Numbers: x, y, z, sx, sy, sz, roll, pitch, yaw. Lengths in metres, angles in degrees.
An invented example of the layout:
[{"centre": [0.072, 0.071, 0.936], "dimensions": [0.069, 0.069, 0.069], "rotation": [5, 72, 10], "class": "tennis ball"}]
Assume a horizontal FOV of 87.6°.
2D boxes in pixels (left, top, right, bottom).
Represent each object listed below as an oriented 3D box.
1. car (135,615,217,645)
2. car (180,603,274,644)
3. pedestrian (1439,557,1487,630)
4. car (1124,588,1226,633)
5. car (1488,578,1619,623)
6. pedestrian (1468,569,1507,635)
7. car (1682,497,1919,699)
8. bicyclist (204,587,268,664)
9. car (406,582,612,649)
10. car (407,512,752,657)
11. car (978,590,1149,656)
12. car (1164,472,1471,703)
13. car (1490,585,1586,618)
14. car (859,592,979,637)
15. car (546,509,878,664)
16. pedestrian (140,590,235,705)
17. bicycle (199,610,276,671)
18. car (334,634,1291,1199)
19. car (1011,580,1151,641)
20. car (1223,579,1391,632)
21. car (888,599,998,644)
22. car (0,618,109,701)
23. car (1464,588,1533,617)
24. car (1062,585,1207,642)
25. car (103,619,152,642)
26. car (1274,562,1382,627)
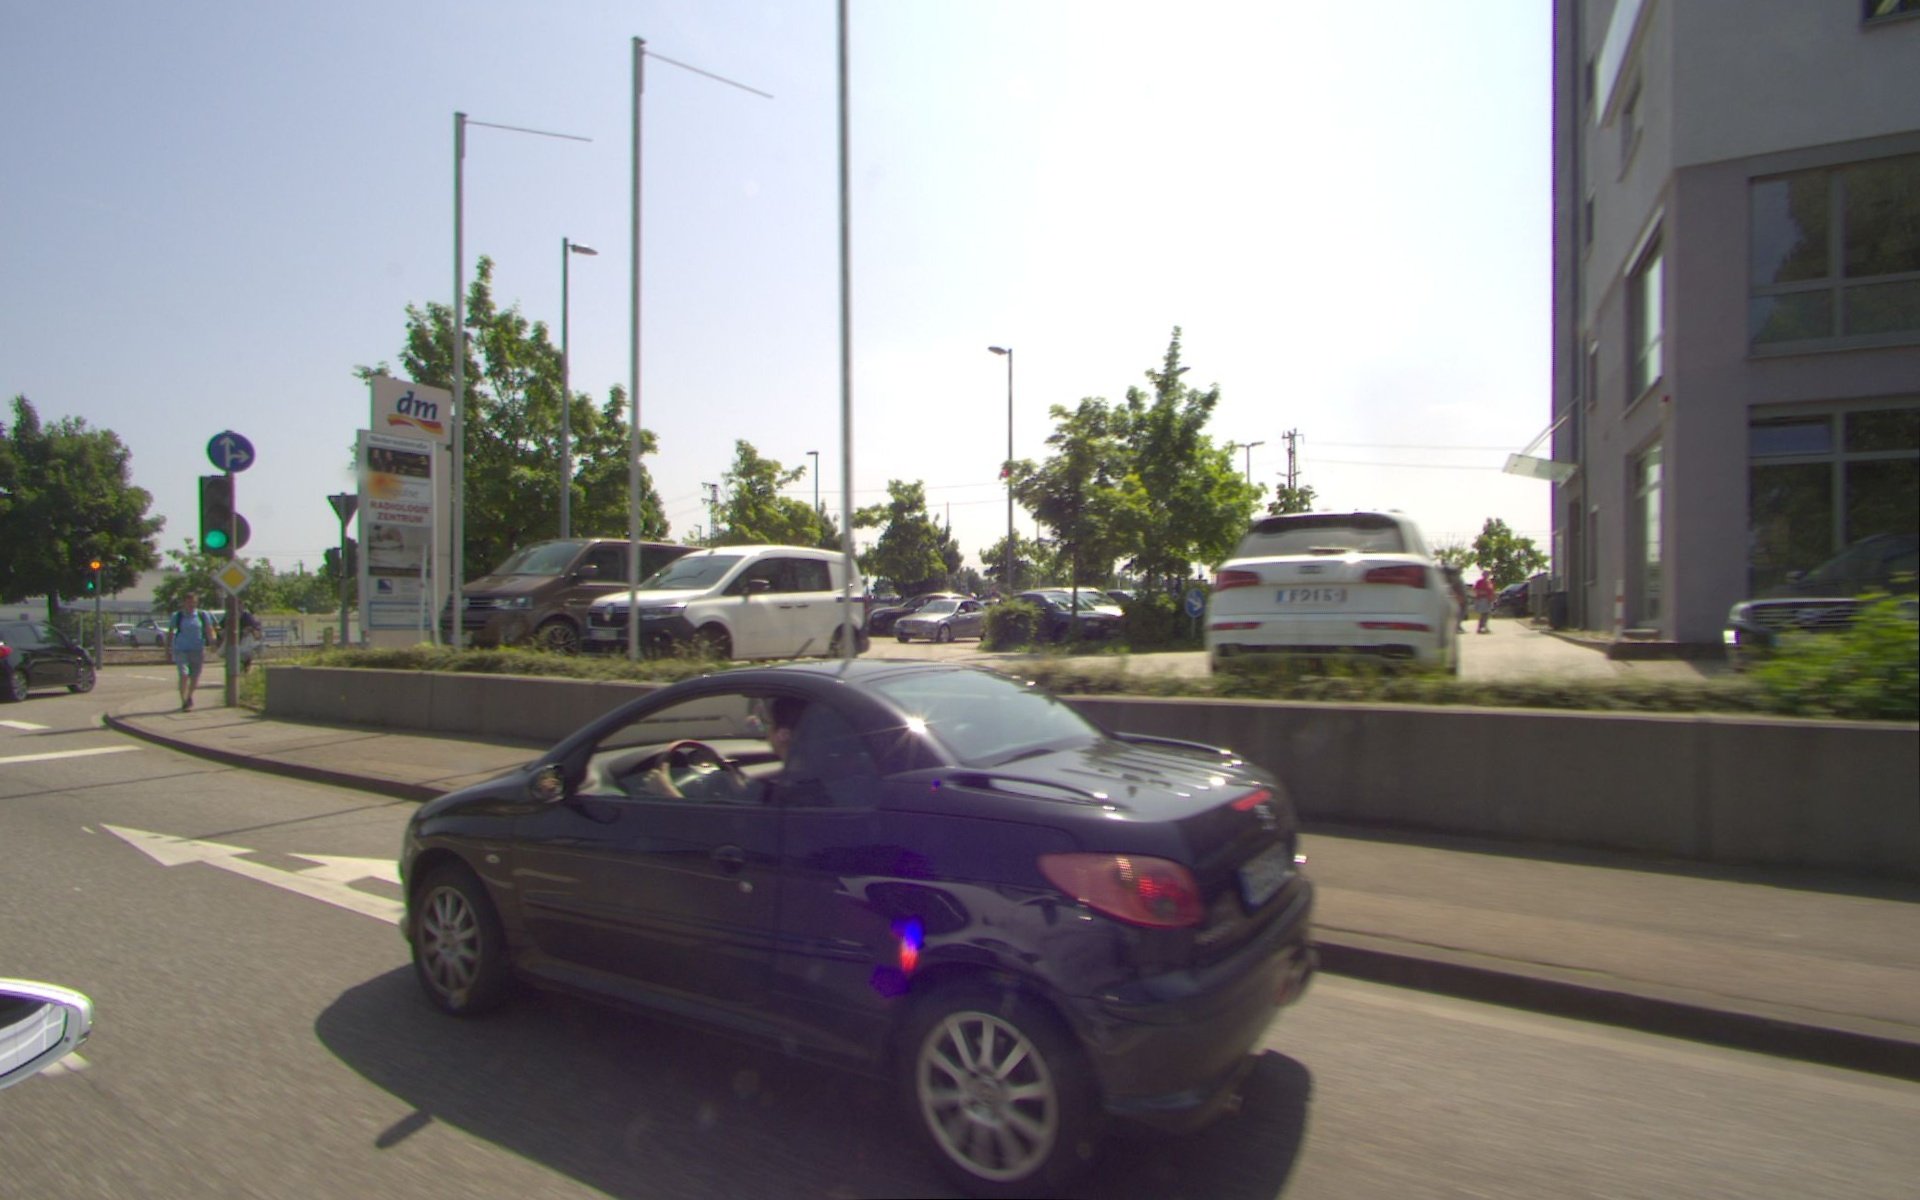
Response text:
[{"centre": [-39.992, 1.533, 51.084], "dimensions": [4.016, 1.412, 1.734], "rotation": [-2, 0, 27], "class": "car"}, {"centre": [-27.873, 0.877, 38.062], "dimensions": [3.477, 1.458, 1.418], "rotation": [0, 2, 27], "class": "car"}, {"centre": [13.024, -0.159, 25.956], "dimensions": [0.843, 1.862, 0.786], "rotation": [0, 0, -32], "class": "pedestrian"}, {"centre": [8.981, 0.447, 42.115], "dimensions": [1.653, 1.812, 4.162], "rotation": [2, -1, -36], "class": "car"}, {"centre": [22.102, 0.052, 37.339], "dimensions": [3.952, 1.572, 1.985], "rotation": [-1, -1, 40], "class": "car"}, {"centre": [13.001, 0.046, 24.685], "dimensions": [0.765, 1.595, 0.636], "rotation": [0, 0, -42], "class": "pedestrian"}, {"centre": [9.518, 0.074, 9.732], "dimensions": [4.448, 1.628, 1.911], "rotation": [1, -3, -21], "class": "car"}, {"centre": [-14.396, 0.521, 19.912], "dimensions": [1.077, 1.482, 0.771], "rotation": [-2, -3, 39], "class": "bicyclist"}, {"centre": [-9.985, 0.346, 22.494], "dimensions": [1.834, 1.356, 3.986], "rotation": [-1, -1, 26], "class": "car"}, {"centre": [-5.687, -0.072, 15.631], "dimensions": [2.151, 1.820, 4.691], "rotation": [-1, -4, 31], "class": "car"}, {"centre": [2.537, 0.553, 25.180], "dimensions": [1.980, 1.505, 3.961], "rotation": [-1, 0, -44], "class": "car"}, {"centre": [3.612, 0.036, 9.509], "dimensions": [2.065, 1.629, 4.462], "rotation": [-2, -3, 29], "class": "car"}, {"centre": [29.237, 0.104, 50.713], "dimensions": [3.952, 1.617, 1.985], "rotation": [-1, -1, 39], "class": "car"}, {"centre": [-1.618, 0.545, 38.689], "dimensions": [4.269, 1.661, 1.996], "rotation": [-1, 0, -17], "class": "car"}, {"centre": [-3.256, -0.010, 14.073], "dimensions": [1.972, 1.719, 4.406], "rotation": [-2, -5, 32], "class": "car"}, {"centre": [-11.498, 0.714, 14.909], "dimensions": [0.991, 1.645, 0.827], "rotation": [-3, -3, 32], "class": "pedestrian"}, {"centre": [-14.354, 0.807, 19.879], "dimensions": [1.885, 1.147, 0.755], "rotation": [-2, -3, 39], "class": "bicycle"}, {"centre": [-0.667, 0.852, 3.916], "dimensions": [3.449, 1.374, 1.634], "rotation": [-1, 0, 31], "class": "car"}, {"centre": [3.382, 0.322, 28.719], "dimensions": [1.651, 1.620, 4.167], "rotation": [-1, -1, -34], "class": "car"}, {"centre": [11.142, 0.212, 32.426], "dimensions": [1.979, 1.572, 4.803], "rotation": [0, -1, -41], "class": "car"}, {"centre": [-0.498, 0.656, 33.159], "dimensions": [1.748, 1.394, 3.978], "rotation": [1, 0, 33], "class": "car"}, {"centre": [-17.772, 1.061, 18.679], "dimensions": [1.592, 1.419, 3.426], "rotation": [0, -1, -16], "class": "car"}, {"centre": [31.110, 0.157, 57.949], "dimensions": [1.961, 1.617, 4.000], "rotation": [-1, -1, 3], "class": "car"}, {"centre": [5.814, 0.529, 33.887], "dimensions": [1.978, 1.733, 4.709], "rotation": [2, -3, -39], "class": "car"}, {"centre": [-52.846, 1.946, 63.551], "dimensions": [2.910, 1.439, 1.264], "rotation": [-1, 0, 26], "class": "car"}, {"centre": [13.448, -0.159, 36.748], "dimensions": [1.650, 2.221, 3.410], "rotation": [2, -1, -31], "class": "car"}]
